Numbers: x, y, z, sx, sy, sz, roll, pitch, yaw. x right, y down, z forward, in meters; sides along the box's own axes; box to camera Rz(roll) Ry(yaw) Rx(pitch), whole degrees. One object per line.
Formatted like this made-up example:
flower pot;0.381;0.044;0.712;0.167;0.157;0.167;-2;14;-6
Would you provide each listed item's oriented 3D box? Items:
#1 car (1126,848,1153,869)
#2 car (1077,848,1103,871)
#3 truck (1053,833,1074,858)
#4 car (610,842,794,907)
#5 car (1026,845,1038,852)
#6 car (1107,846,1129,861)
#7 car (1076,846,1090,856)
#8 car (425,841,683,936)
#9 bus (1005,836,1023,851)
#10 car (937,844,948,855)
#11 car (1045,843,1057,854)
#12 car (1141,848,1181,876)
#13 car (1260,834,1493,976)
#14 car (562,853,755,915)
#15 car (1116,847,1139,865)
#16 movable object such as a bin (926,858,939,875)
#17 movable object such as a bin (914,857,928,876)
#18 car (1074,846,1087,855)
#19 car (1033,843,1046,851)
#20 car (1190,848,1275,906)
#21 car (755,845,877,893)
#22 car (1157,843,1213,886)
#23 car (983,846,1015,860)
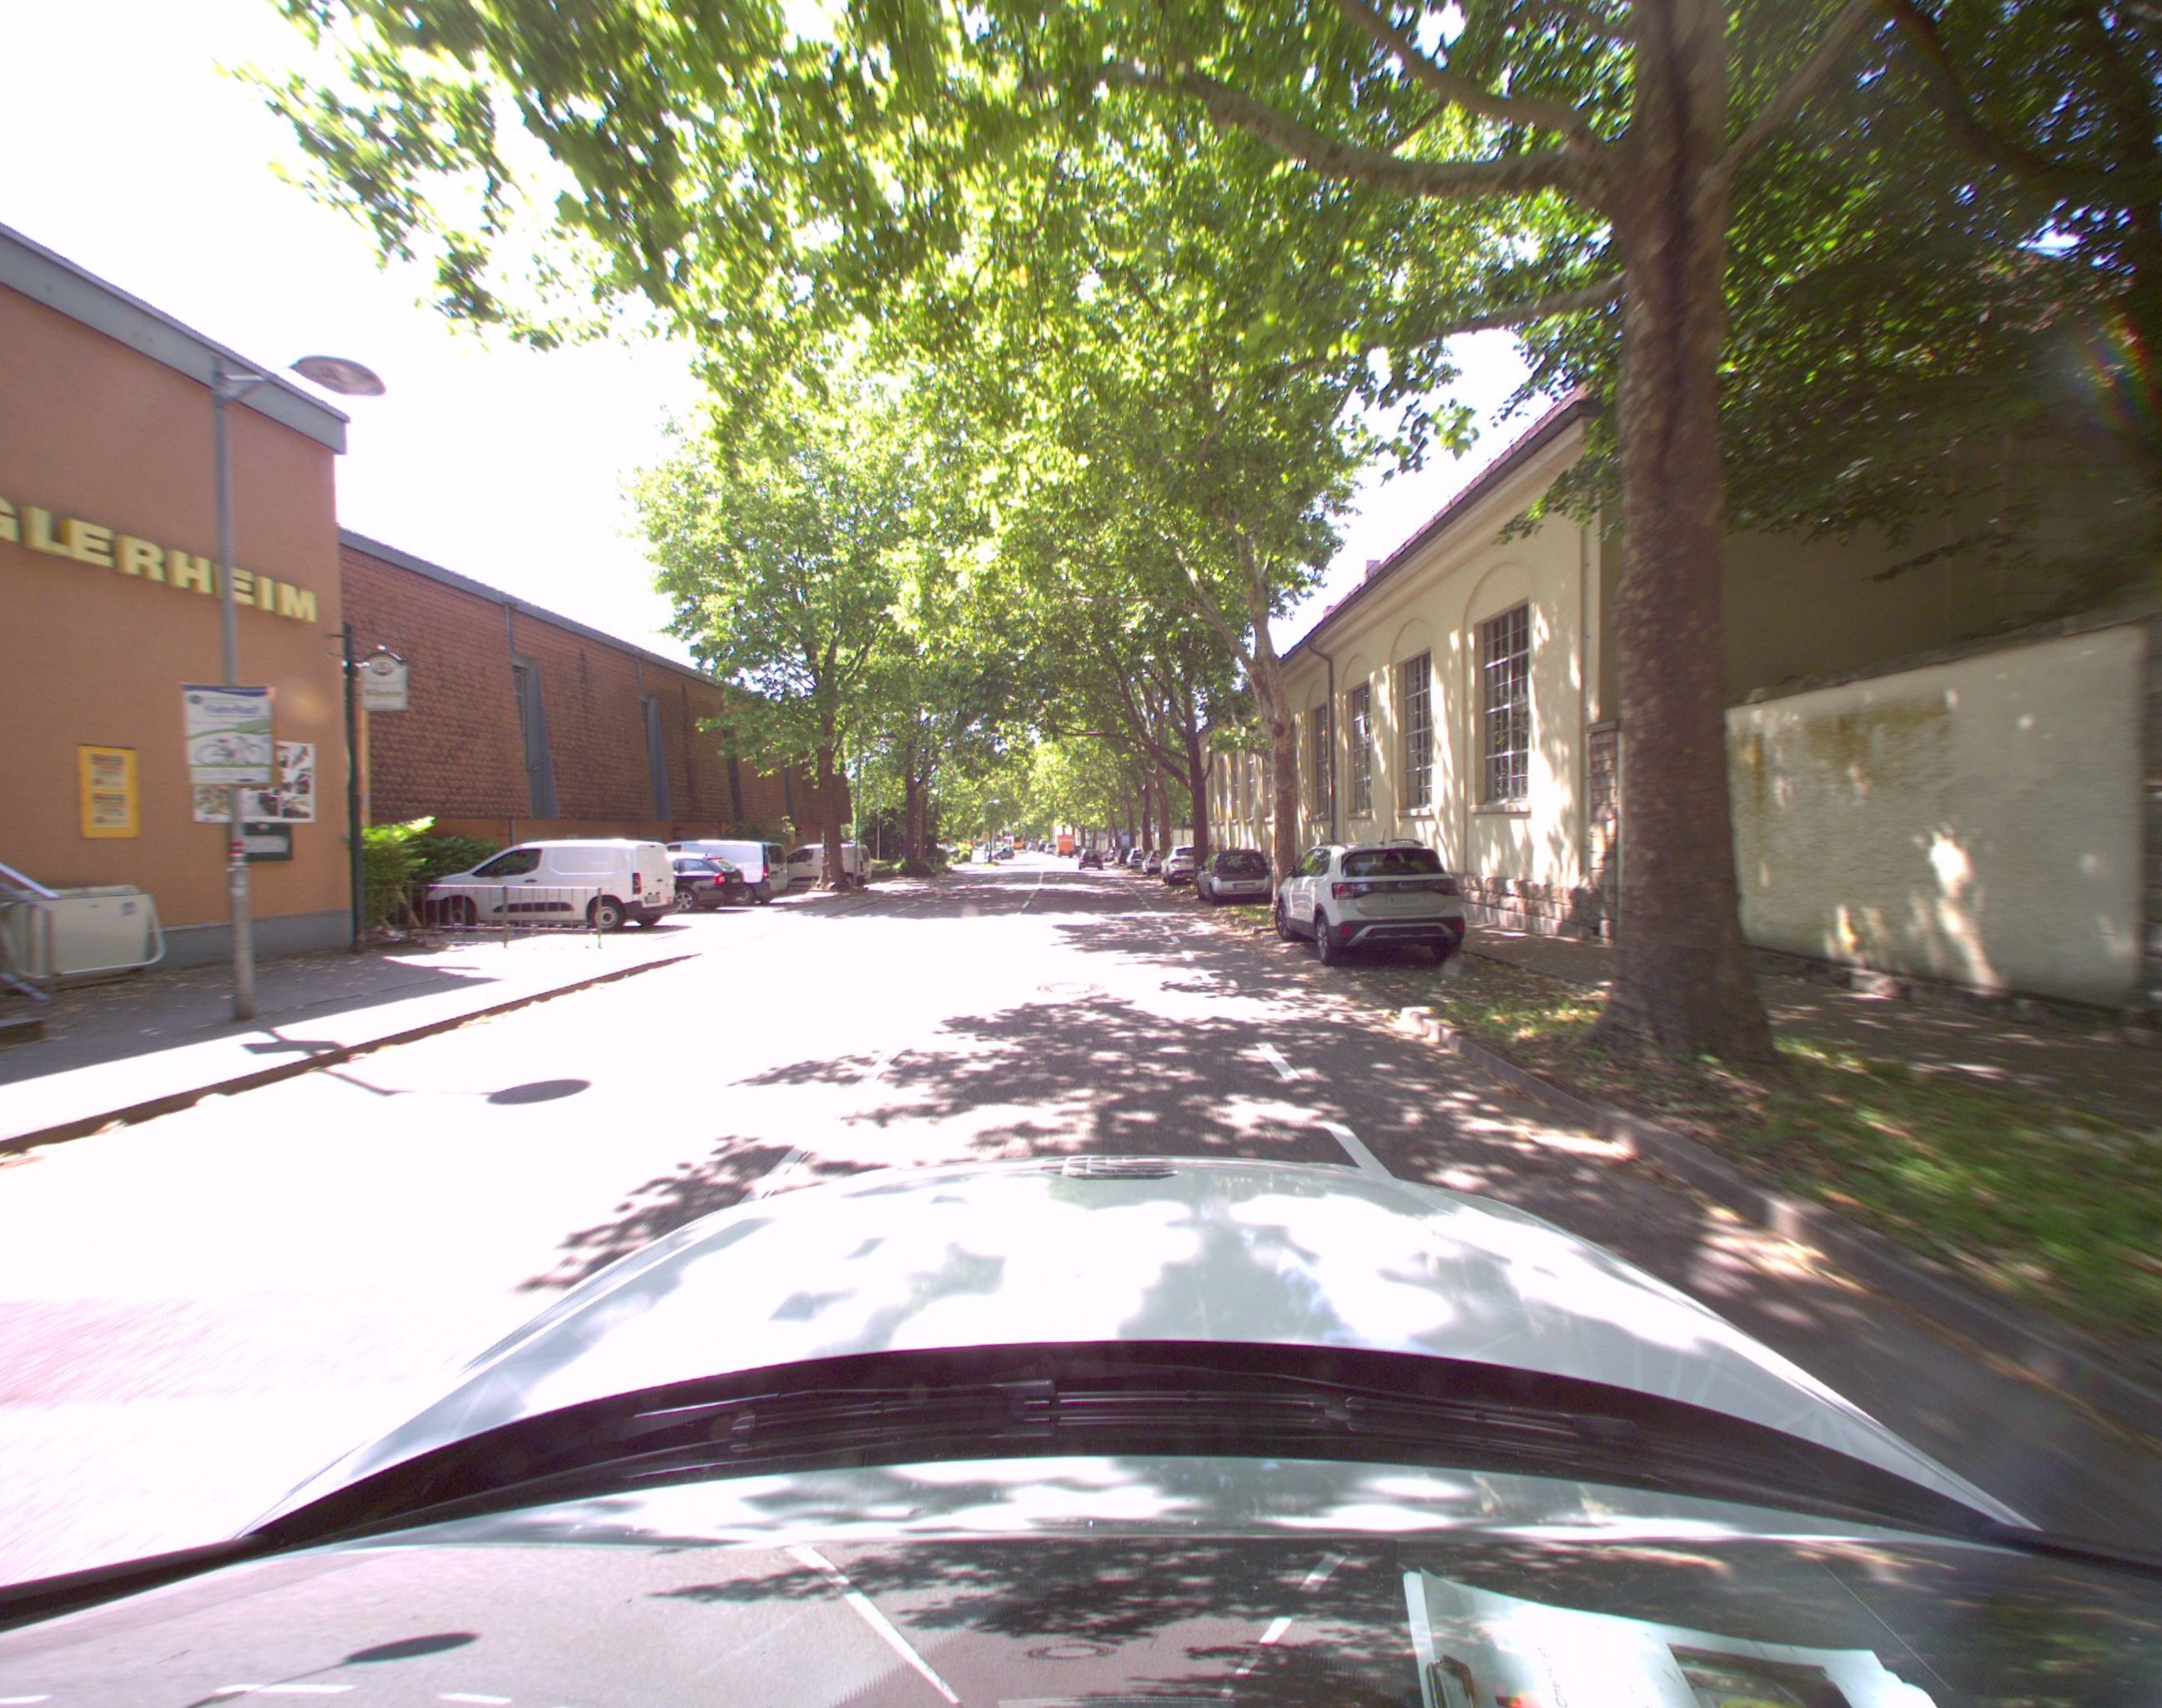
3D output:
car;4.330;0.312;60.650;1.573;1.465;3.874;-3;0;-1
car;0.608;0.363;57.949;1.706;1.447;4.057;-2;2;-1
truck;-2.337;-1.151;109.980;2.367;3.134;5.758;-2;-1;-5
car;-10.887;0.565;23.627;4.412;1.804;1.901;0;0;-3
car;-9.706;-1.095;161.739;1.768;1.374;3.715;-3;0;-12
car;3.730;-0.093;82.723;1.763;1.374;3.724;-3;0;-4
car;0.260;-0.439;118.754;1.763;1.374;3.724;-1;0;-4
car;-10.540;0.658;16.544;3.977;1.792;1.866;0;0;-3
bus;-15.667;-2.413;190.596;2.665;3.150;11.152;-2;0;-12
car;-26.832;-0.801;157.670;1.995;2.014;3.983;-1;-1;-12
car;-4.876;-0.825;132.052;1.876;1.685;3.993;-2;-1;-4
car;4.494;0.432;45.994;1.761;1.433;3.874;-3;0;-1
car;3.954;0.542;11.833;1.734;1.557;4.783;-3;1;2
car;-10.838;0.737;21.114;3.977;1.515;1.866;0;0;-3
car;4.125;0.151;73.131;1.761;1.465;3.874;-3;0;-1
movable object such as a bin;-9.121;0.761;49.986;0.621;1.048;0.620;-1;0;1
movable object such as a bin;-9.810;0.764;49.936;0.732;1.078;0.701;-1;0;0
car;-0.111;-0.589;131.143;1.763;1.374;3.724;-3;0;-4
car;-7.529;-1.268;146.584;1.768;1.374;3.714;-3;0;-12
car;4.270;0.589;23.577;1.616;1.439;4.433;-3;0;1
car;-10.267;0.555;31.791;4.118;1.804;1.901;0;0;-3
car;4.457;0.406;35.382;1.802;1.689;4.752;-3;0;1
car;-10.186;-0.085;101.363;1.974;1.666;4.024;-2;-1;28
